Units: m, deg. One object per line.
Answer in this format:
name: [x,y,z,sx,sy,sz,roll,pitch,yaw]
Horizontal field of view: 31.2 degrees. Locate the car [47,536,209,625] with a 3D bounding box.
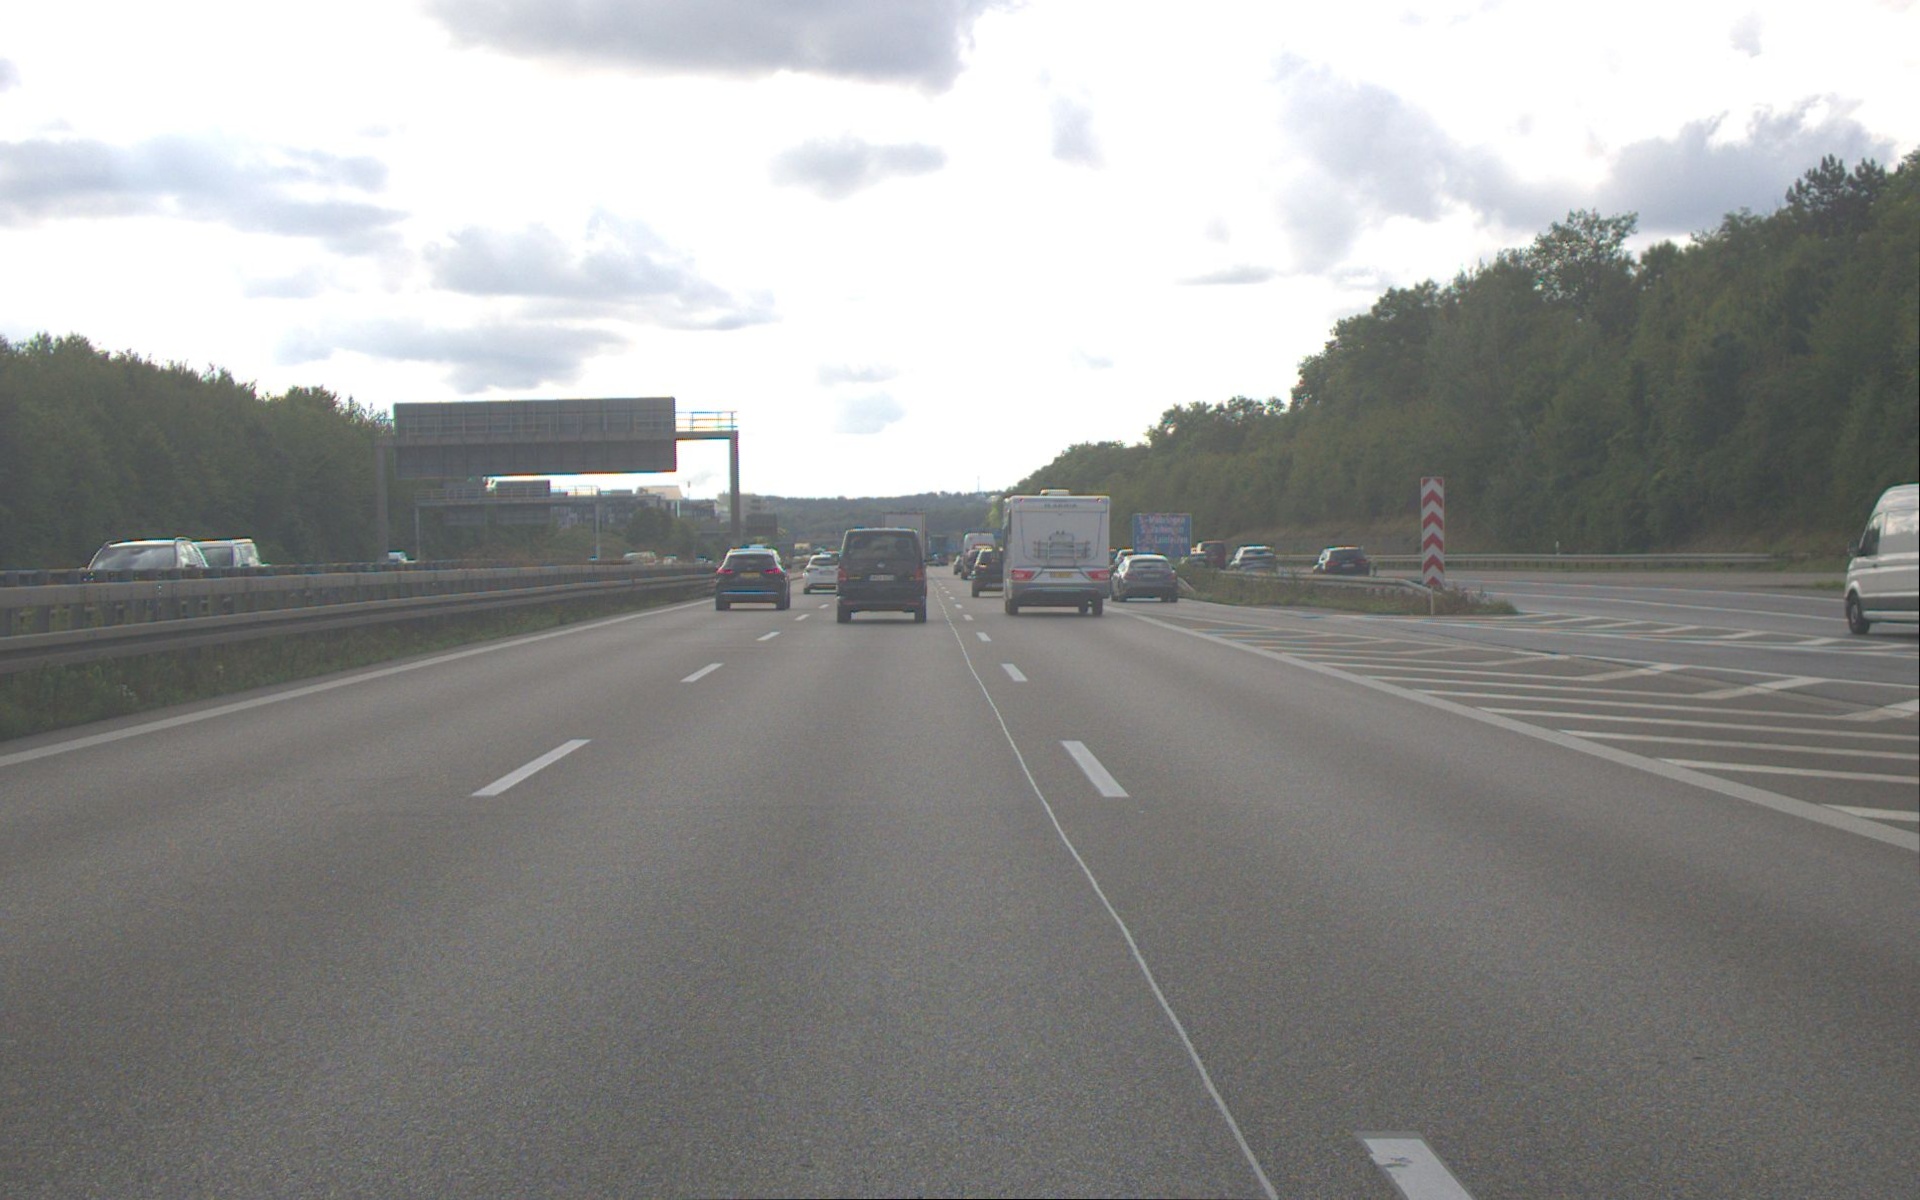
car: [-14.324,-0.353,59.387,1.735,1.475,4.201,0,1,1]

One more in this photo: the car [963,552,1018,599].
car: [1.021,-0.857,117.292,1.697,1.559,4.114,0,1,-2]

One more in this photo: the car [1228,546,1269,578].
car: [13.973,-1.843,166.696,1.541,1.479,3.942,-2,1,-1]

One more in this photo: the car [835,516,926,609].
car: [-1.668,-0.806,72.603,1.855,1.904,4.260,0,1,-1]

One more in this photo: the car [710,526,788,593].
car: [-5.480,-1.053,89.732,1.873,1.692,4.072,0,0,-1]

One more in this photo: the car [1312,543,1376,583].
car: [14.956,-1.453,134.029,1.843,1.479,4.526,-2,1,-1]

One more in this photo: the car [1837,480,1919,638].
car: [16.451,-0.696,56.443,2.070,2.545,6.743,-1,1,-2]

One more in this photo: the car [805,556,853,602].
car: [-4.719,-0.772,124.332,1.697,1.605,4.114,0,1,-2]

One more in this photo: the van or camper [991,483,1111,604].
van or camper: [2.094,-1.339,81.667,2.468,2.712,7.662,0,1,-1]

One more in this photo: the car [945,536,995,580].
car: [0.358,-1.579,128.735,1.814,1.596,4.000,-1,1,-1]

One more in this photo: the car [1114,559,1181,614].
car: [5.669,-0.428,104.162,1.697,1.605,3.896,0,1,-2]

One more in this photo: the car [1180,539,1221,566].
car: [14.160,-2.788,202.553,1.843,1.479,4.526,-2,1,-2]

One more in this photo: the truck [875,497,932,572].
truck: [-3.373,-3.919,207.956,3.263,4.360,11.026,0,1,0]

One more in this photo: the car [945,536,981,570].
car: [0.159,-2.654,194.898,1.913,1.912,4.031,0,1,-1]

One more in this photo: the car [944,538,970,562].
car: [-0.202,-3.602,246.758,1.752,1.689,4.190,0,1,-1]

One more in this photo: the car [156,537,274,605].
car: [-18.620,-0.739,86.104,1.810,1.630,5.008,0,1,1]
